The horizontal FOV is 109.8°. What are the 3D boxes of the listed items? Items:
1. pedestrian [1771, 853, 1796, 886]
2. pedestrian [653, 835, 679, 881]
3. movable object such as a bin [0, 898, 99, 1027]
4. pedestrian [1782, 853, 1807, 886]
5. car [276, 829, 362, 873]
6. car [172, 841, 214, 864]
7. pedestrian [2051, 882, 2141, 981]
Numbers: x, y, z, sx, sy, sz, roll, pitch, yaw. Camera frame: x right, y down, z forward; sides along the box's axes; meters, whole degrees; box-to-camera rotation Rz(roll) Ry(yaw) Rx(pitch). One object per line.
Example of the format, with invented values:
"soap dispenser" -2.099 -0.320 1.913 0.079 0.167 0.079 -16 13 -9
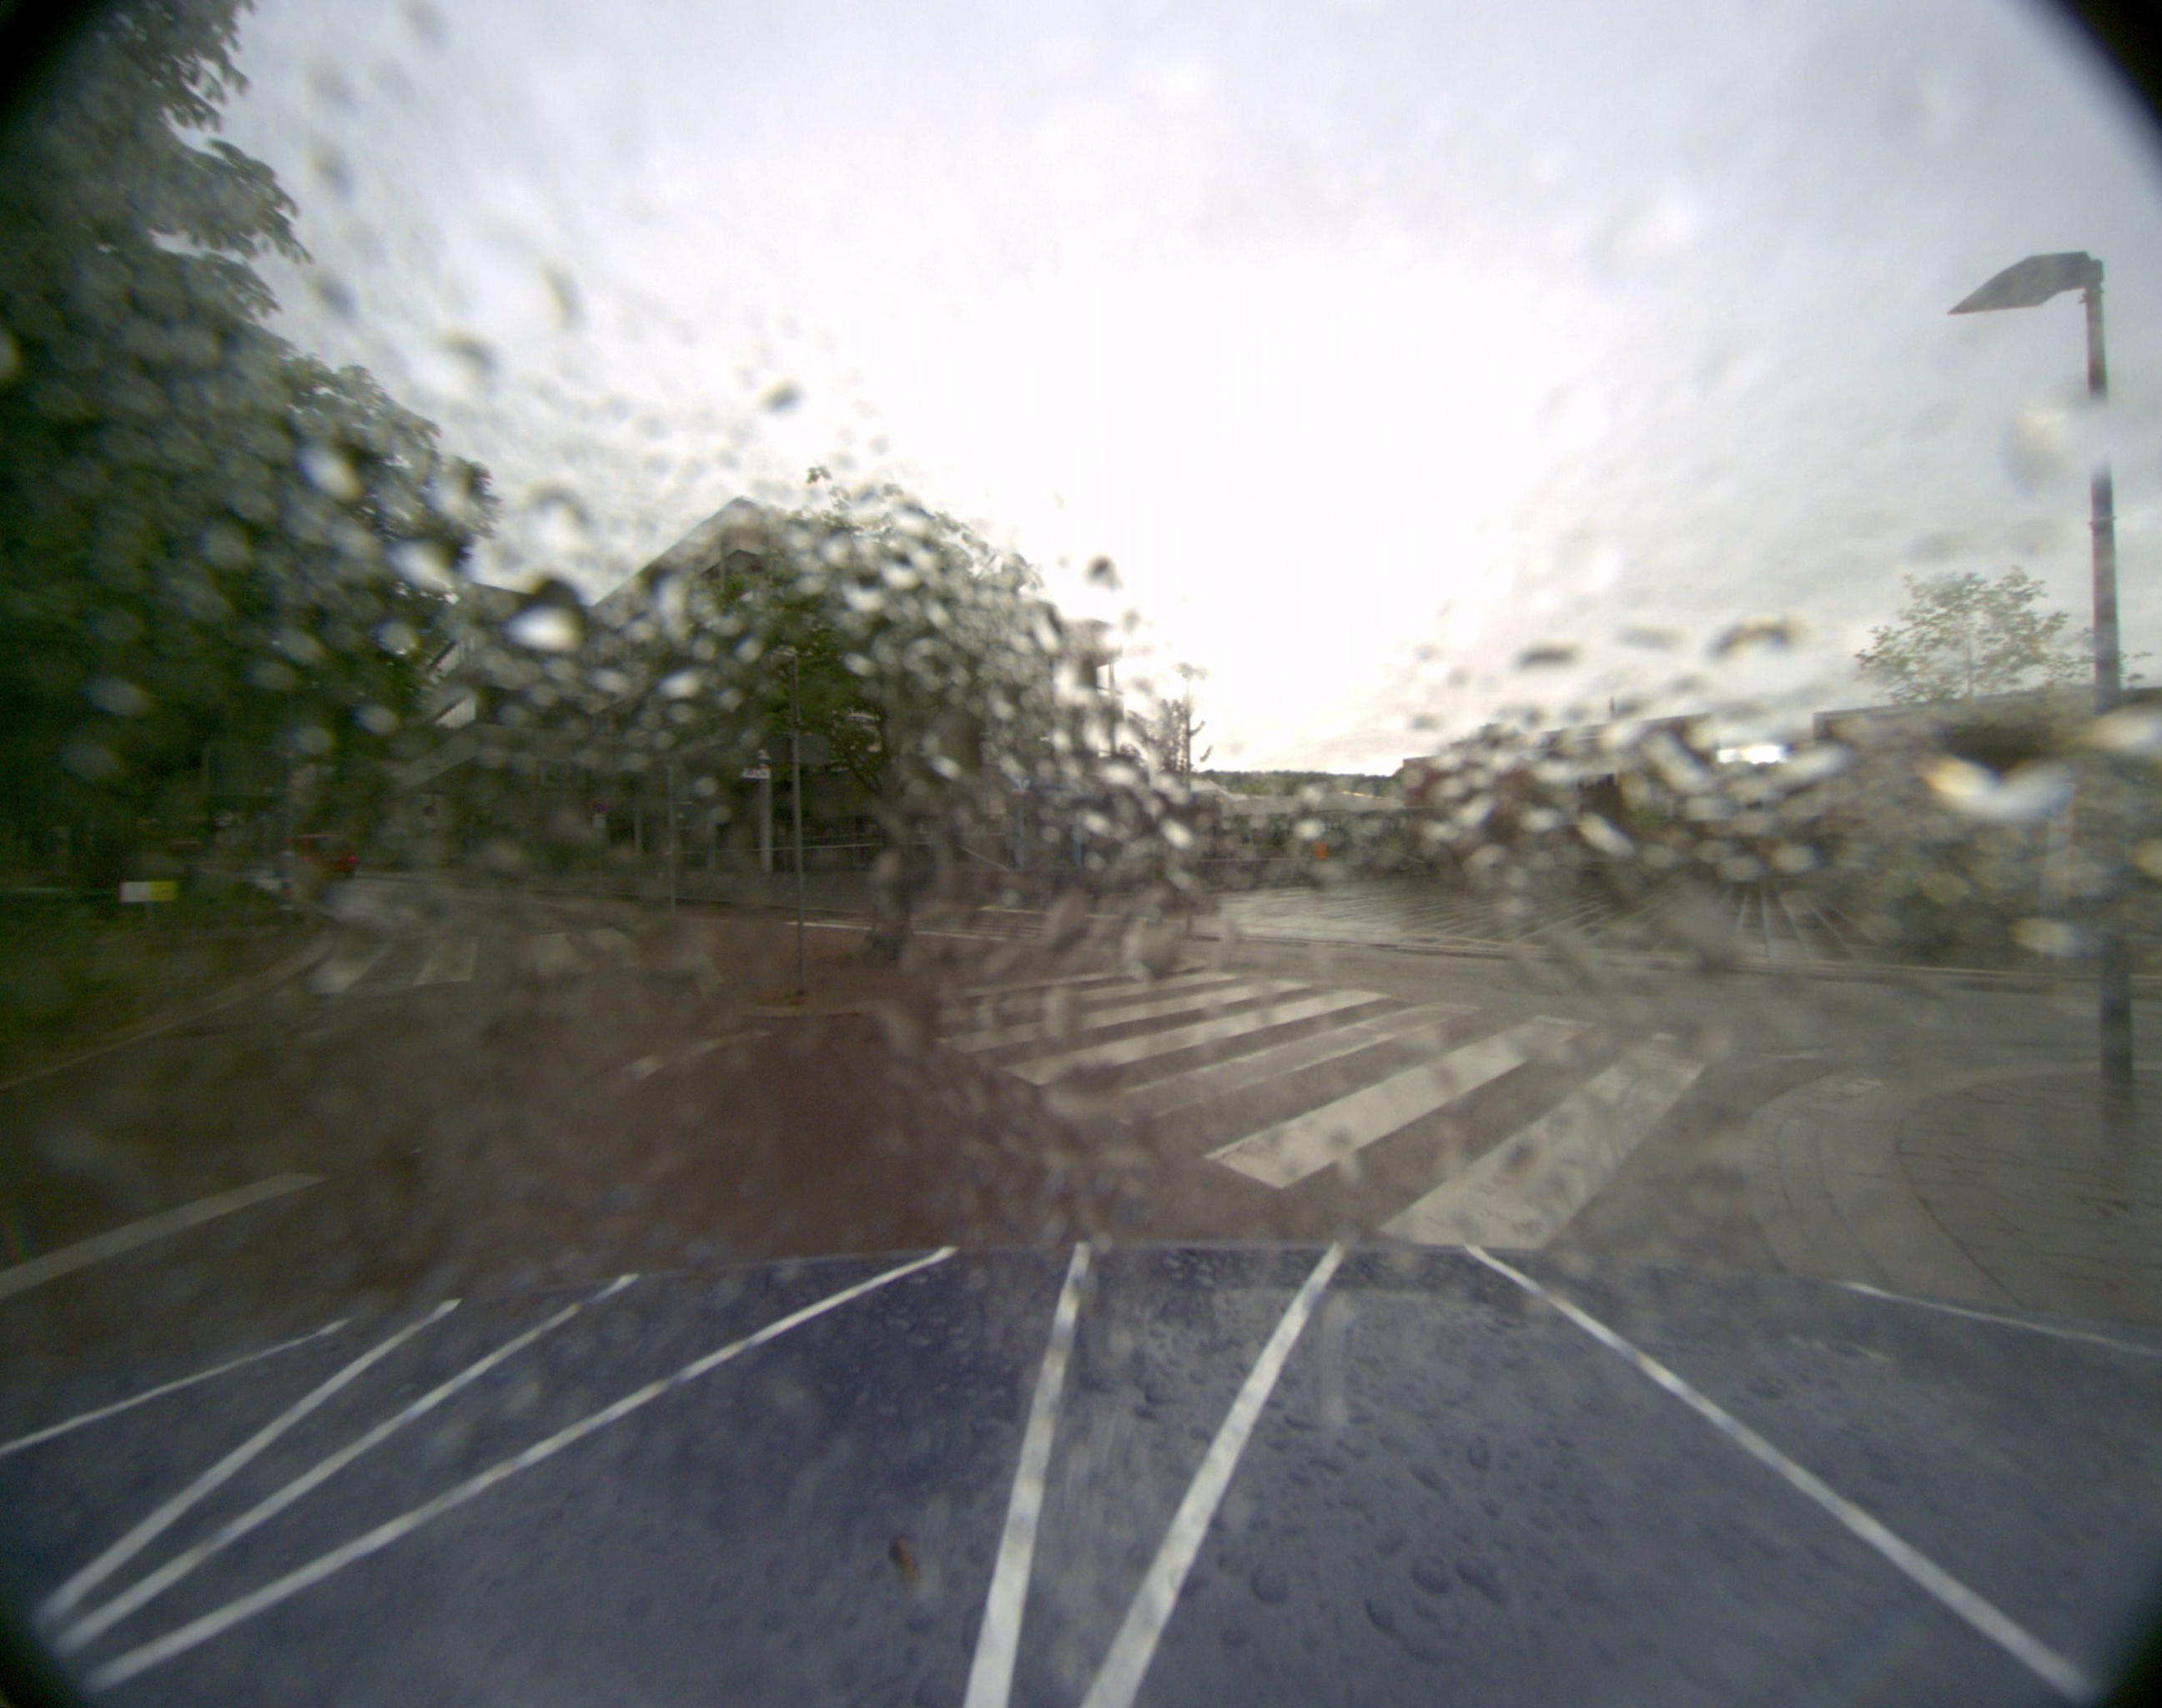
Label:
"pedestrian" 42.216 0.920 45.668 0.863 2.002 0.731 -1 1 -14
"pedestrian" -16.762 0.137 30.697 0.838 1.820 0.813 -3 4 -30
"movable object such as a bin" -9.997 1.012 7.231 0.648 1.118 0.741 0 1 41
"pedestrian" 43.096 0.923 45.893 0.863 2.002 0.731 -1 1 -14
"car" -33.363 -0.104 33.245 4.173 1.820 1.872 0 0 34
"car" -70.521 -0.130 60.321 3.988 1.759 2.004 0 1 39
"pedestrian" 17.373 1.298 13.030 0.692 1.608 0.732 0 1 31
